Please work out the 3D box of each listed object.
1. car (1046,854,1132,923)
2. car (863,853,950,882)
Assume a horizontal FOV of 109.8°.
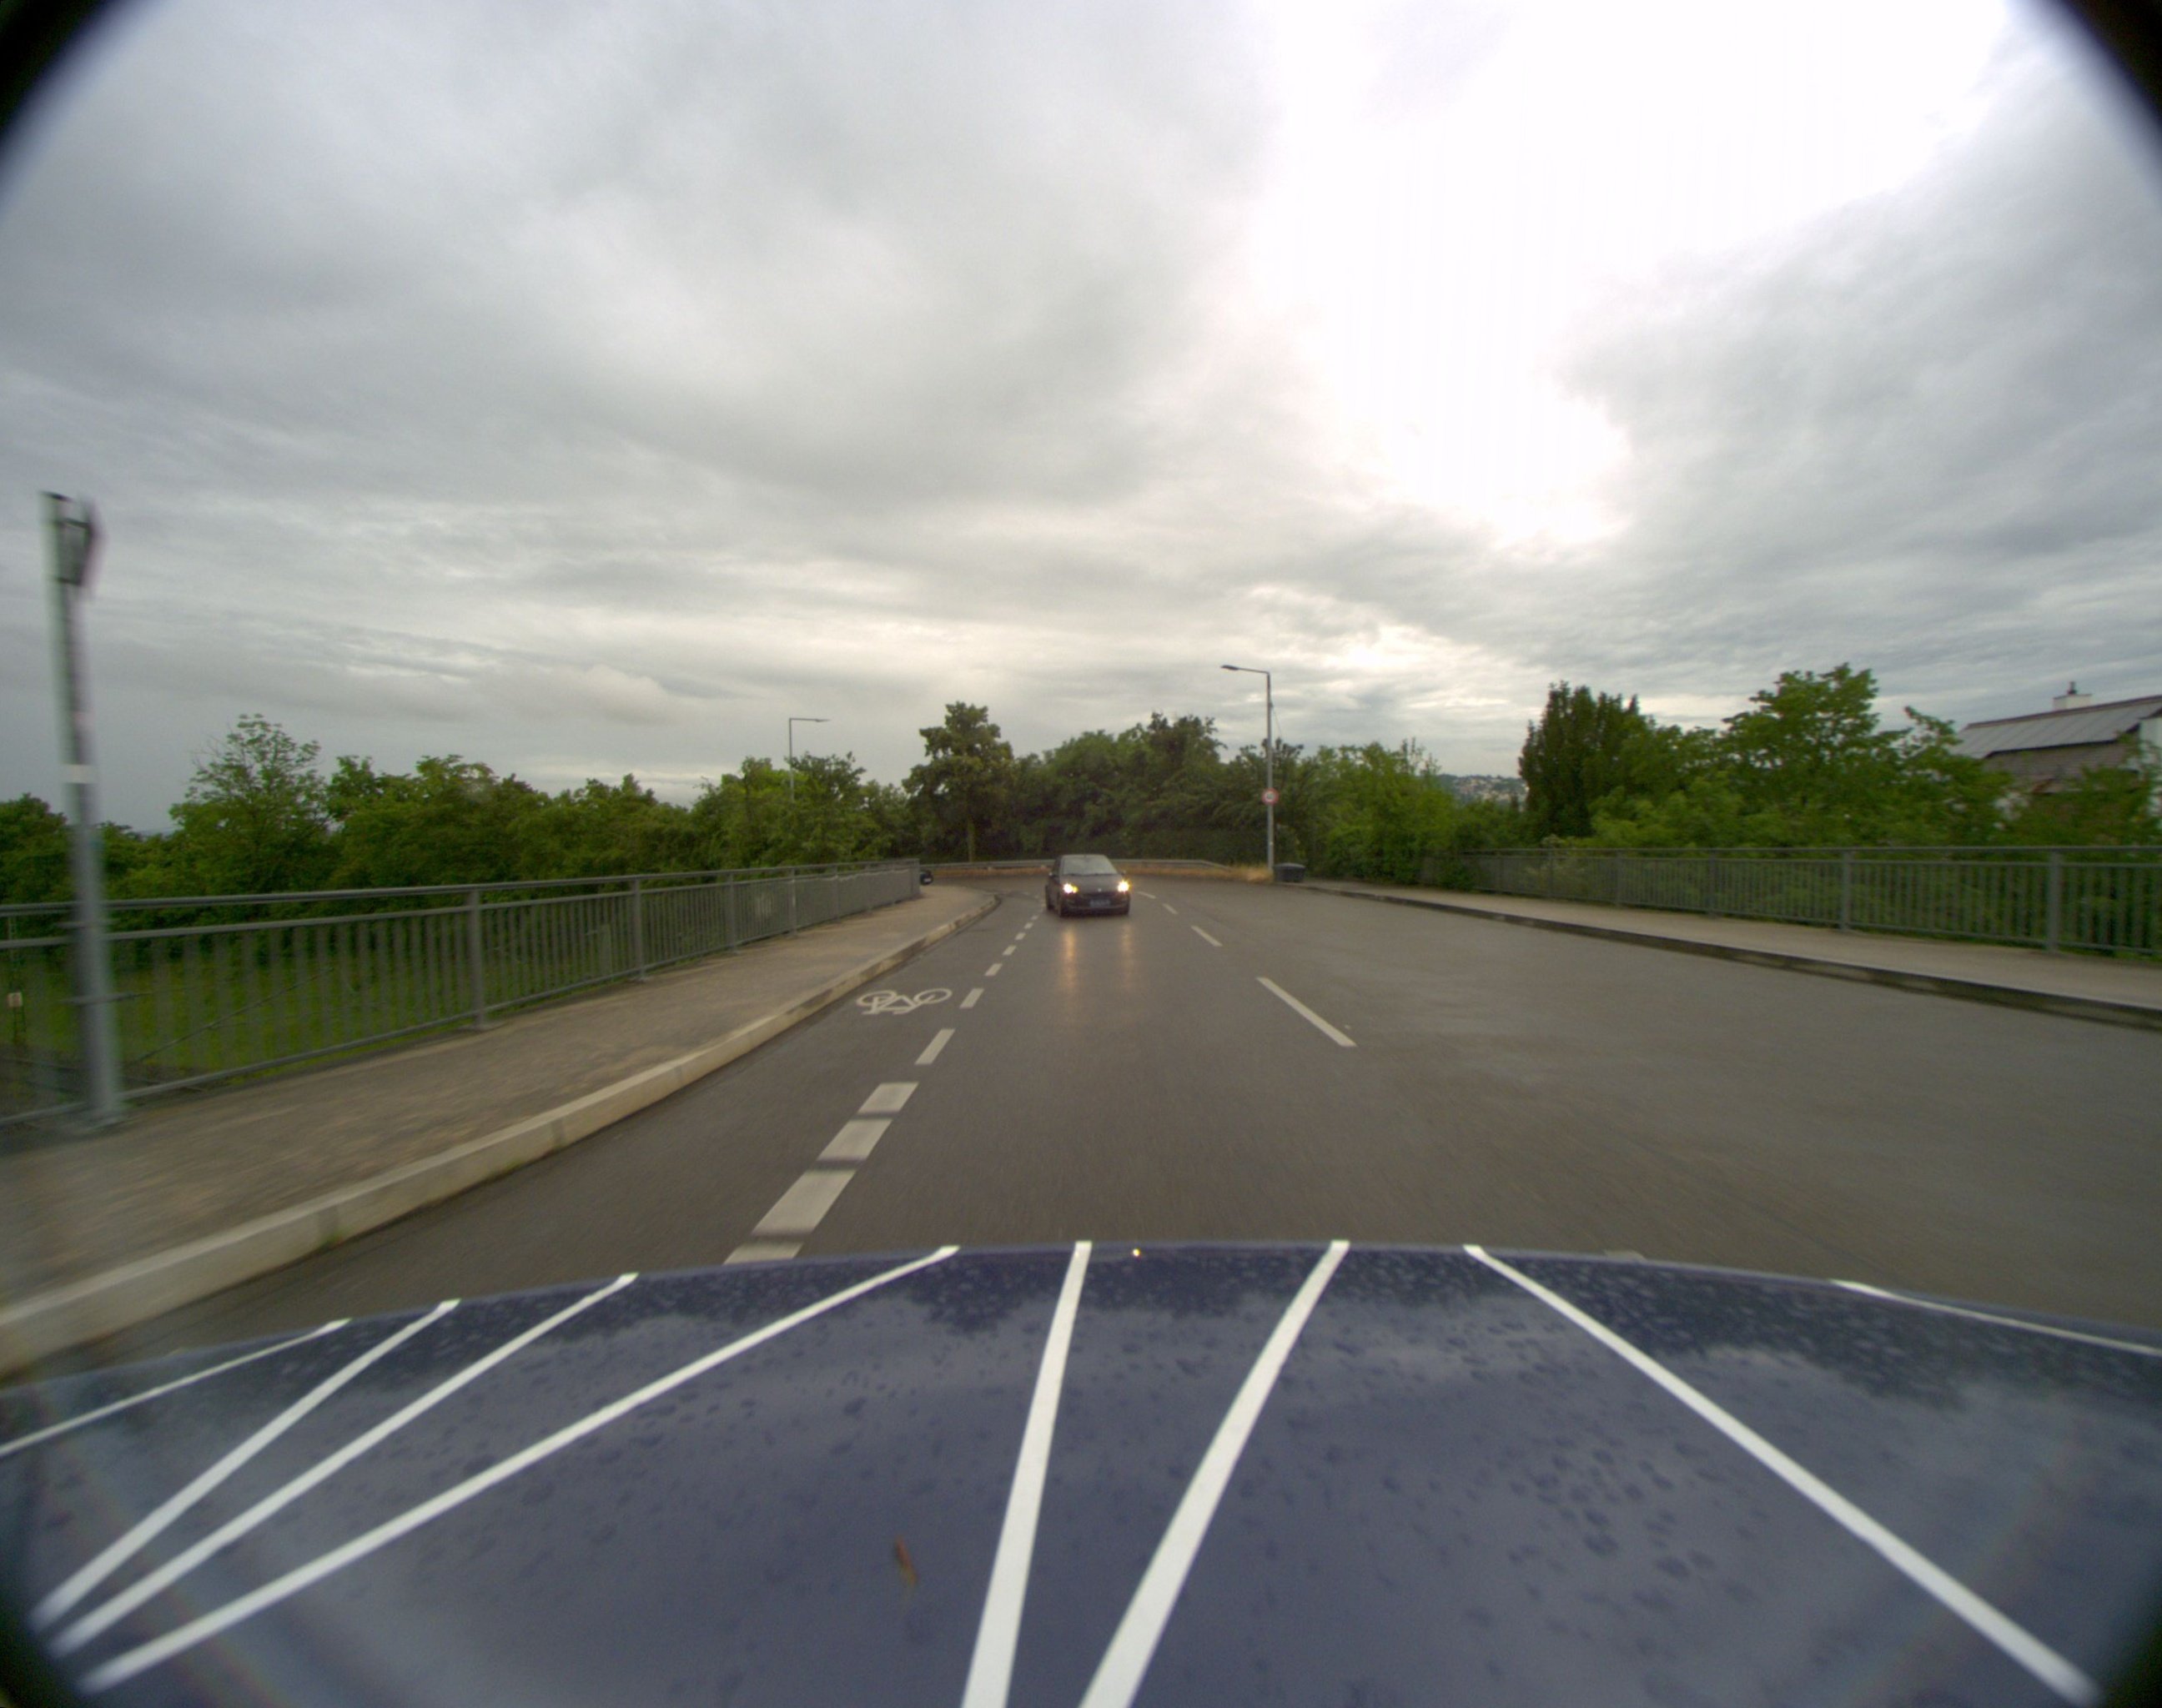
[{"bbox_3d":[0.110,0.795,19.187,1.681,1.405,3.634,-3,2,-6],"label":"car"},{"bbox_3d":[-9.275,0.718,40.358,4.388,1.445,1.771,-1,0,28],"label":"car"}]
